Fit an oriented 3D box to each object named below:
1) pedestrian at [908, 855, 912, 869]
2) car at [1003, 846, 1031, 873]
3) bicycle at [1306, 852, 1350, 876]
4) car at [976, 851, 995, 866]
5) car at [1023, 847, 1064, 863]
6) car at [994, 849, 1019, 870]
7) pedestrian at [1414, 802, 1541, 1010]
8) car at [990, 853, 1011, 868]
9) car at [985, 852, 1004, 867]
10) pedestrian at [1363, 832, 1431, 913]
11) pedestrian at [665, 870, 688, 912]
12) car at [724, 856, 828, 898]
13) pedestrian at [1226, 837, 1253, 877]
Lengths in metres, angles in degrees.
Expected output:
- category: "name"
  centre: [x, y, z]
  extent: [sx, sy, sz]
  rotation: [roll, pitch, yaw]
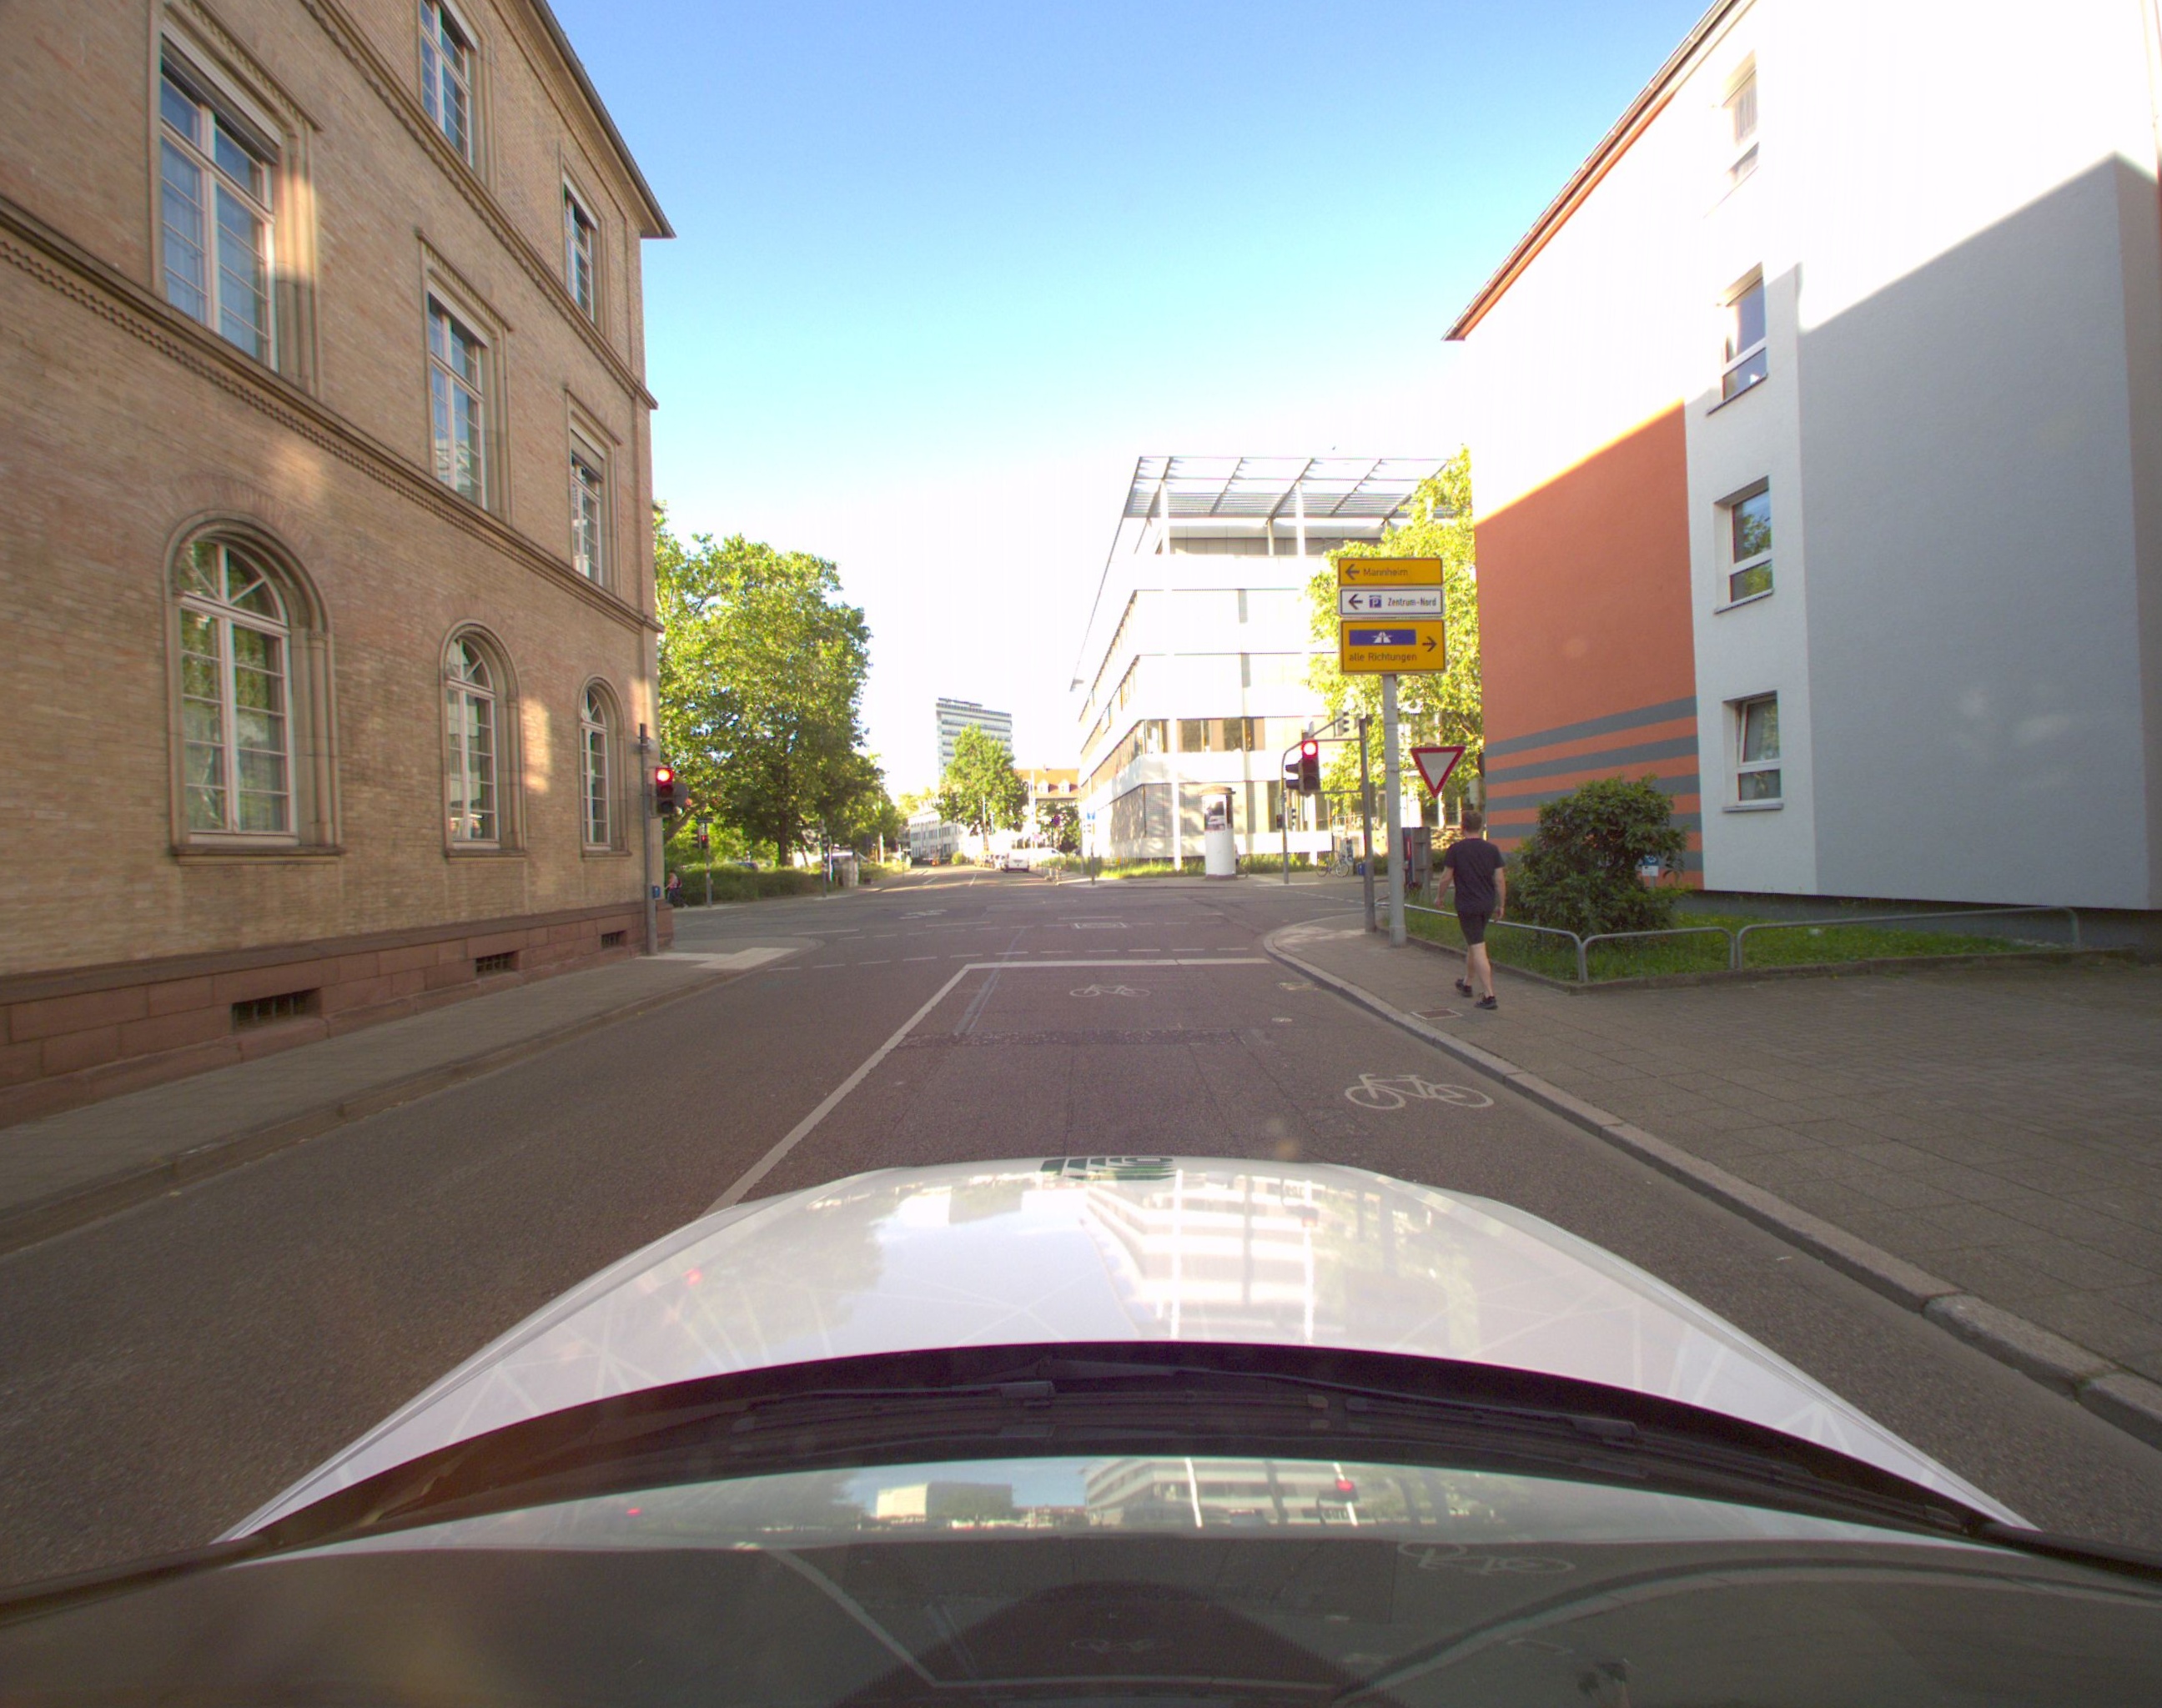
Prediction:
- category: "pedestrian"
  centre: [-19.770, 0.933, 93.898]
  extent: [0.380, 1.534, 0.444]
  rotation: [-2, 0, -10]
- category: "car"
  centre: [-5.128, 0.432, 64.931]
  extent: [2.065, 1.963, 4.228]
  rotation: [-2, 0, -6]
- category: "bicycle"
  centre: [10.900, 0.446, 35.991]
  extent: [0.467, 1.049, 1.893]
  rotation: [-2, 0, -40]
- category: "car"
  centre: [-11.304, 0.514, 96.121]
  extent: [2.100, 1.658, 4.461]
  rotation: [-2, 0, -9]
- category: "car"
  centre: [-4.781, 0.108, 103.092]
  extent: [4.889, 1.872, 1.990]
  rotation: [-1, -1, -15]
- category: "car"
  centre: [-7.076, 0.497, 76.794]
  extent: [1.947, 1.795, 4.223]
  rotation: [-2, 0, -11]
- category: "pedestrian"
  centre: [3.695, 0.460, 7.673]
  extent: [0.641, 1.788, 0.917]
  rotation: [-5, 0, 4]
- category: "car"
  centre: [-8.098, 0.633, 81.701]
  extent: [1.705, 1.424, 4.221]
  rotation: [-2, 0, -11]
- category: "car"
  centre: [-9.195, 0.592, 86.240]
  extent: [1.704, 1.464, 4.225]
  rotation: [-2, 0, -9]
- category: "pedestrian"
  centre: [6.545, 0.396, 16.881]
  extent: [0.754, 1.573, 0.946]
  rotation: [-5, 0, -39]
- category: "pedestrian"
  centre: [-15.935, 1.427, 32.060]
  extent: [0.716, 1.599, 0.611]
  rotation: [-2, 0, -30]
- category: "car"
  centre: [-14.402, 1.071, 38.635]
  extent: [4.219, 1.777, 1.901]
  rotation: [-2, 0, -7]
- category: "pedestrian"
  centre: [7.359, 0.137, 37.795]
  extent: [1.038, 1.831, 0.537]
  rotation: [-2, 0, -11]
